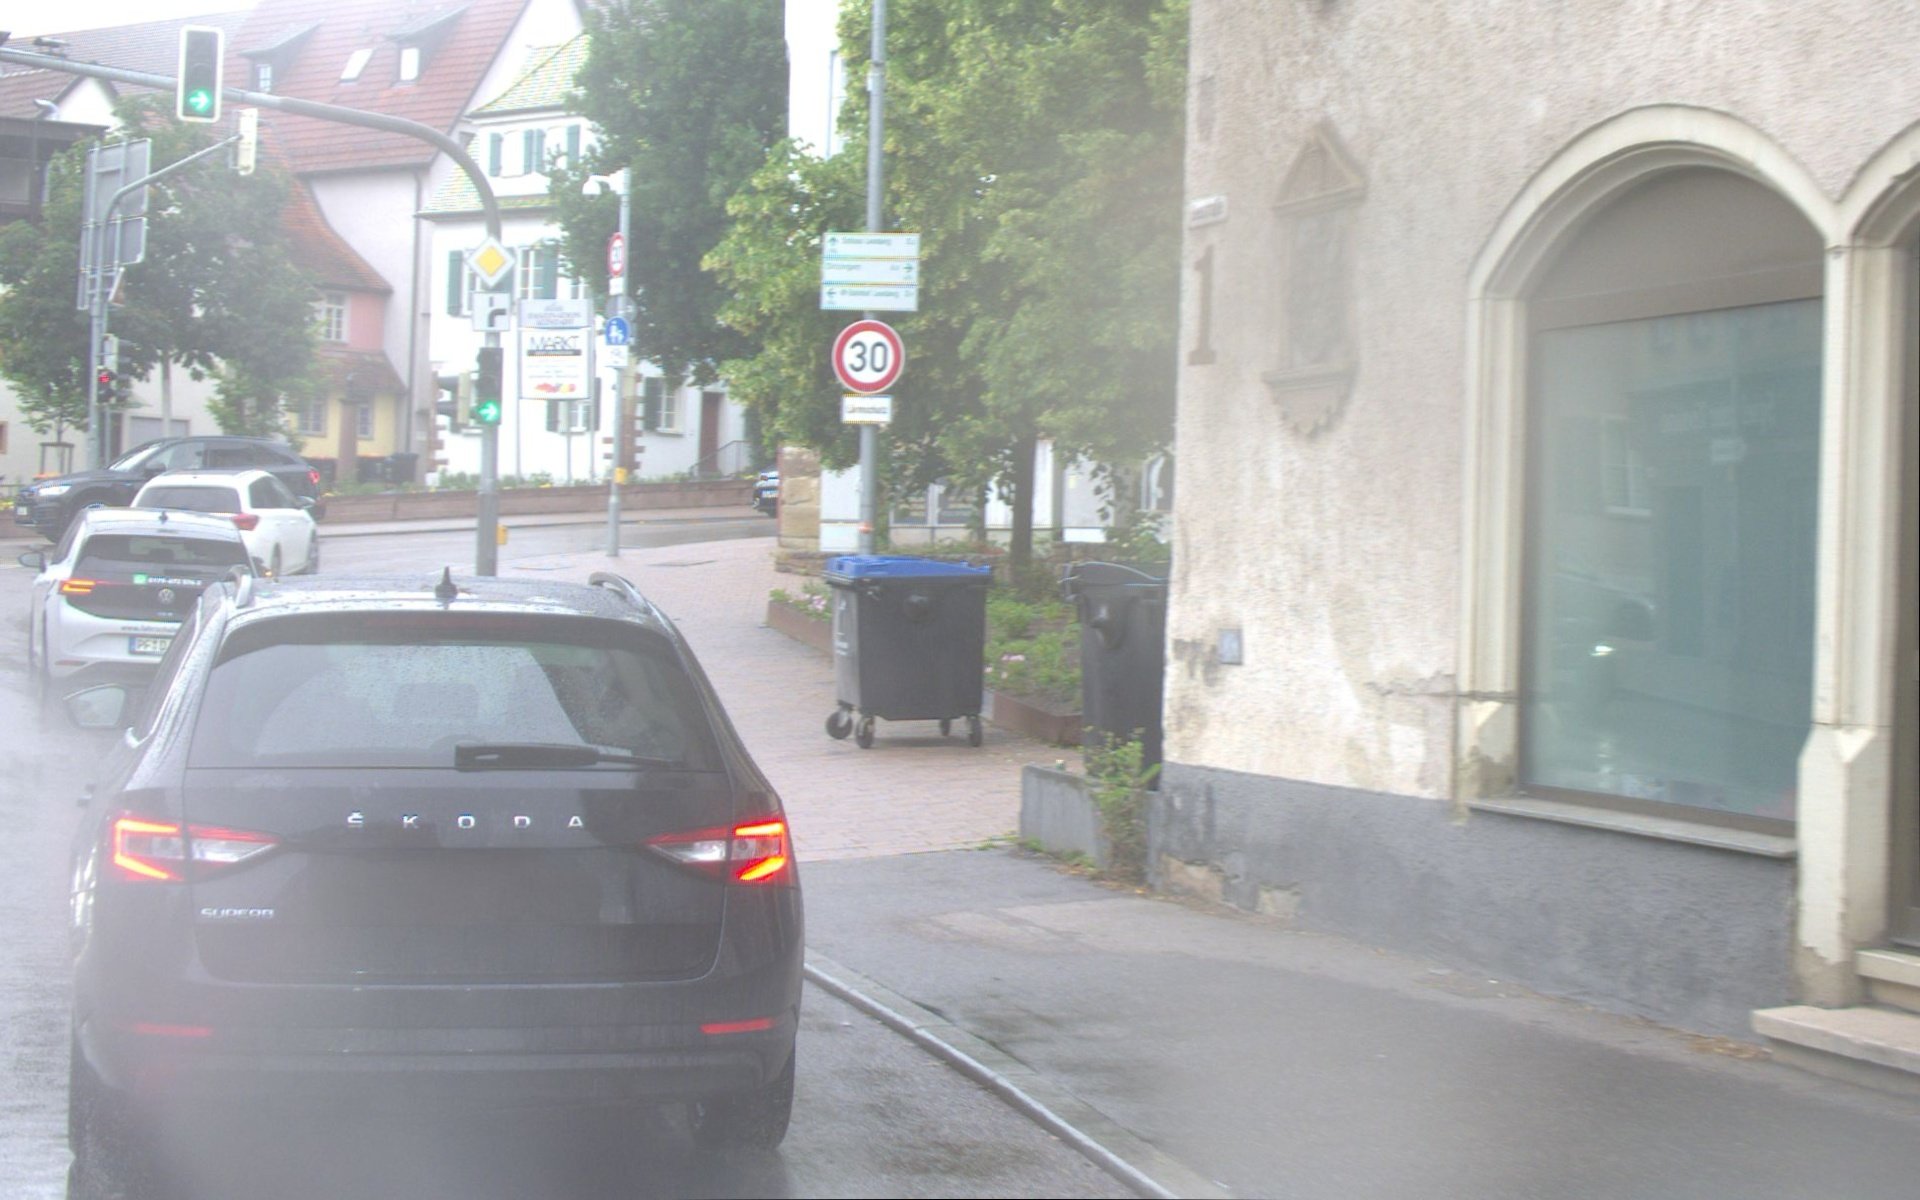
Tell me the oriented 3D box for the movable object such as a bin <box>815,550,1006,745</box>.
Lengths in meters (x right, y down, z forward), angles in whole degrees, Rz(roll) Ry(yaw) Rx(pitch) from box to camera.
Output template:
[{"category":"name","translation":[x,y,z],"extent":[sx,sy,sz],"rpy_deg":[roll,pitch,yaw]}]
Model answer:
[{"category":"movable object such as a bin","translation":[-0.364,0.320,24.276],"extent":[1.154,1.308,1.187],"rpy_deg":[1,1,-9]}]

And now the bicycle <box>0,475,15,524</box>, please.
[{"category":"bicycle","translation":[-18.581,-1.901,64.799],"extent":[0.392,0.909,1.466],"rpy_deg":[7,5,42]}]

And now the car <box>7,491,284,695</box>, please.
[{"category":"car","translation":[-6.685,-0.107,27.936],"extent":[1.856,1.468,4.002],"rpy_deg":[1,2,-18]}]

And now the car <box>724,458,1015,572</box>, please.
[{"category":"car","translation":[-1.420,-1.303,53.386],"extent":[3.985,1.297,2.001],"rpy_deg":[6,-1,-20]}]

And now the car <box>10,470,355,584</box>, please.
[{"category":"car","translation":[-11.751,-1.097,52.057],"extent":[4.733,1.583,1.830],"rpy_deg":[1,2,-31]}]

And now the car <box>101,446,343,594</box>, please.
[{"category":"car","translation":[-8.613,-0.949,40.458],"extent":[1.885,1.590,4.326],"rpy_deg":[2,1,0]}]

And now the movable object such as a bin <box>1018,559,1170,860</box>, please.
[{"category":"movable object such as a bin","translation":[0.653,0.528,16.786],"extent":[0.412,1.437,0.644],"rpy_deg":[1,-1,-39]}]

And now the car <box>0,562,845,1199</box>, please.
[{"category":"car","translation":[-1.564,0.644,9.731],"extent":[1.886,1.443,4.358],"rpy_deg":[1,1,-9]}]
